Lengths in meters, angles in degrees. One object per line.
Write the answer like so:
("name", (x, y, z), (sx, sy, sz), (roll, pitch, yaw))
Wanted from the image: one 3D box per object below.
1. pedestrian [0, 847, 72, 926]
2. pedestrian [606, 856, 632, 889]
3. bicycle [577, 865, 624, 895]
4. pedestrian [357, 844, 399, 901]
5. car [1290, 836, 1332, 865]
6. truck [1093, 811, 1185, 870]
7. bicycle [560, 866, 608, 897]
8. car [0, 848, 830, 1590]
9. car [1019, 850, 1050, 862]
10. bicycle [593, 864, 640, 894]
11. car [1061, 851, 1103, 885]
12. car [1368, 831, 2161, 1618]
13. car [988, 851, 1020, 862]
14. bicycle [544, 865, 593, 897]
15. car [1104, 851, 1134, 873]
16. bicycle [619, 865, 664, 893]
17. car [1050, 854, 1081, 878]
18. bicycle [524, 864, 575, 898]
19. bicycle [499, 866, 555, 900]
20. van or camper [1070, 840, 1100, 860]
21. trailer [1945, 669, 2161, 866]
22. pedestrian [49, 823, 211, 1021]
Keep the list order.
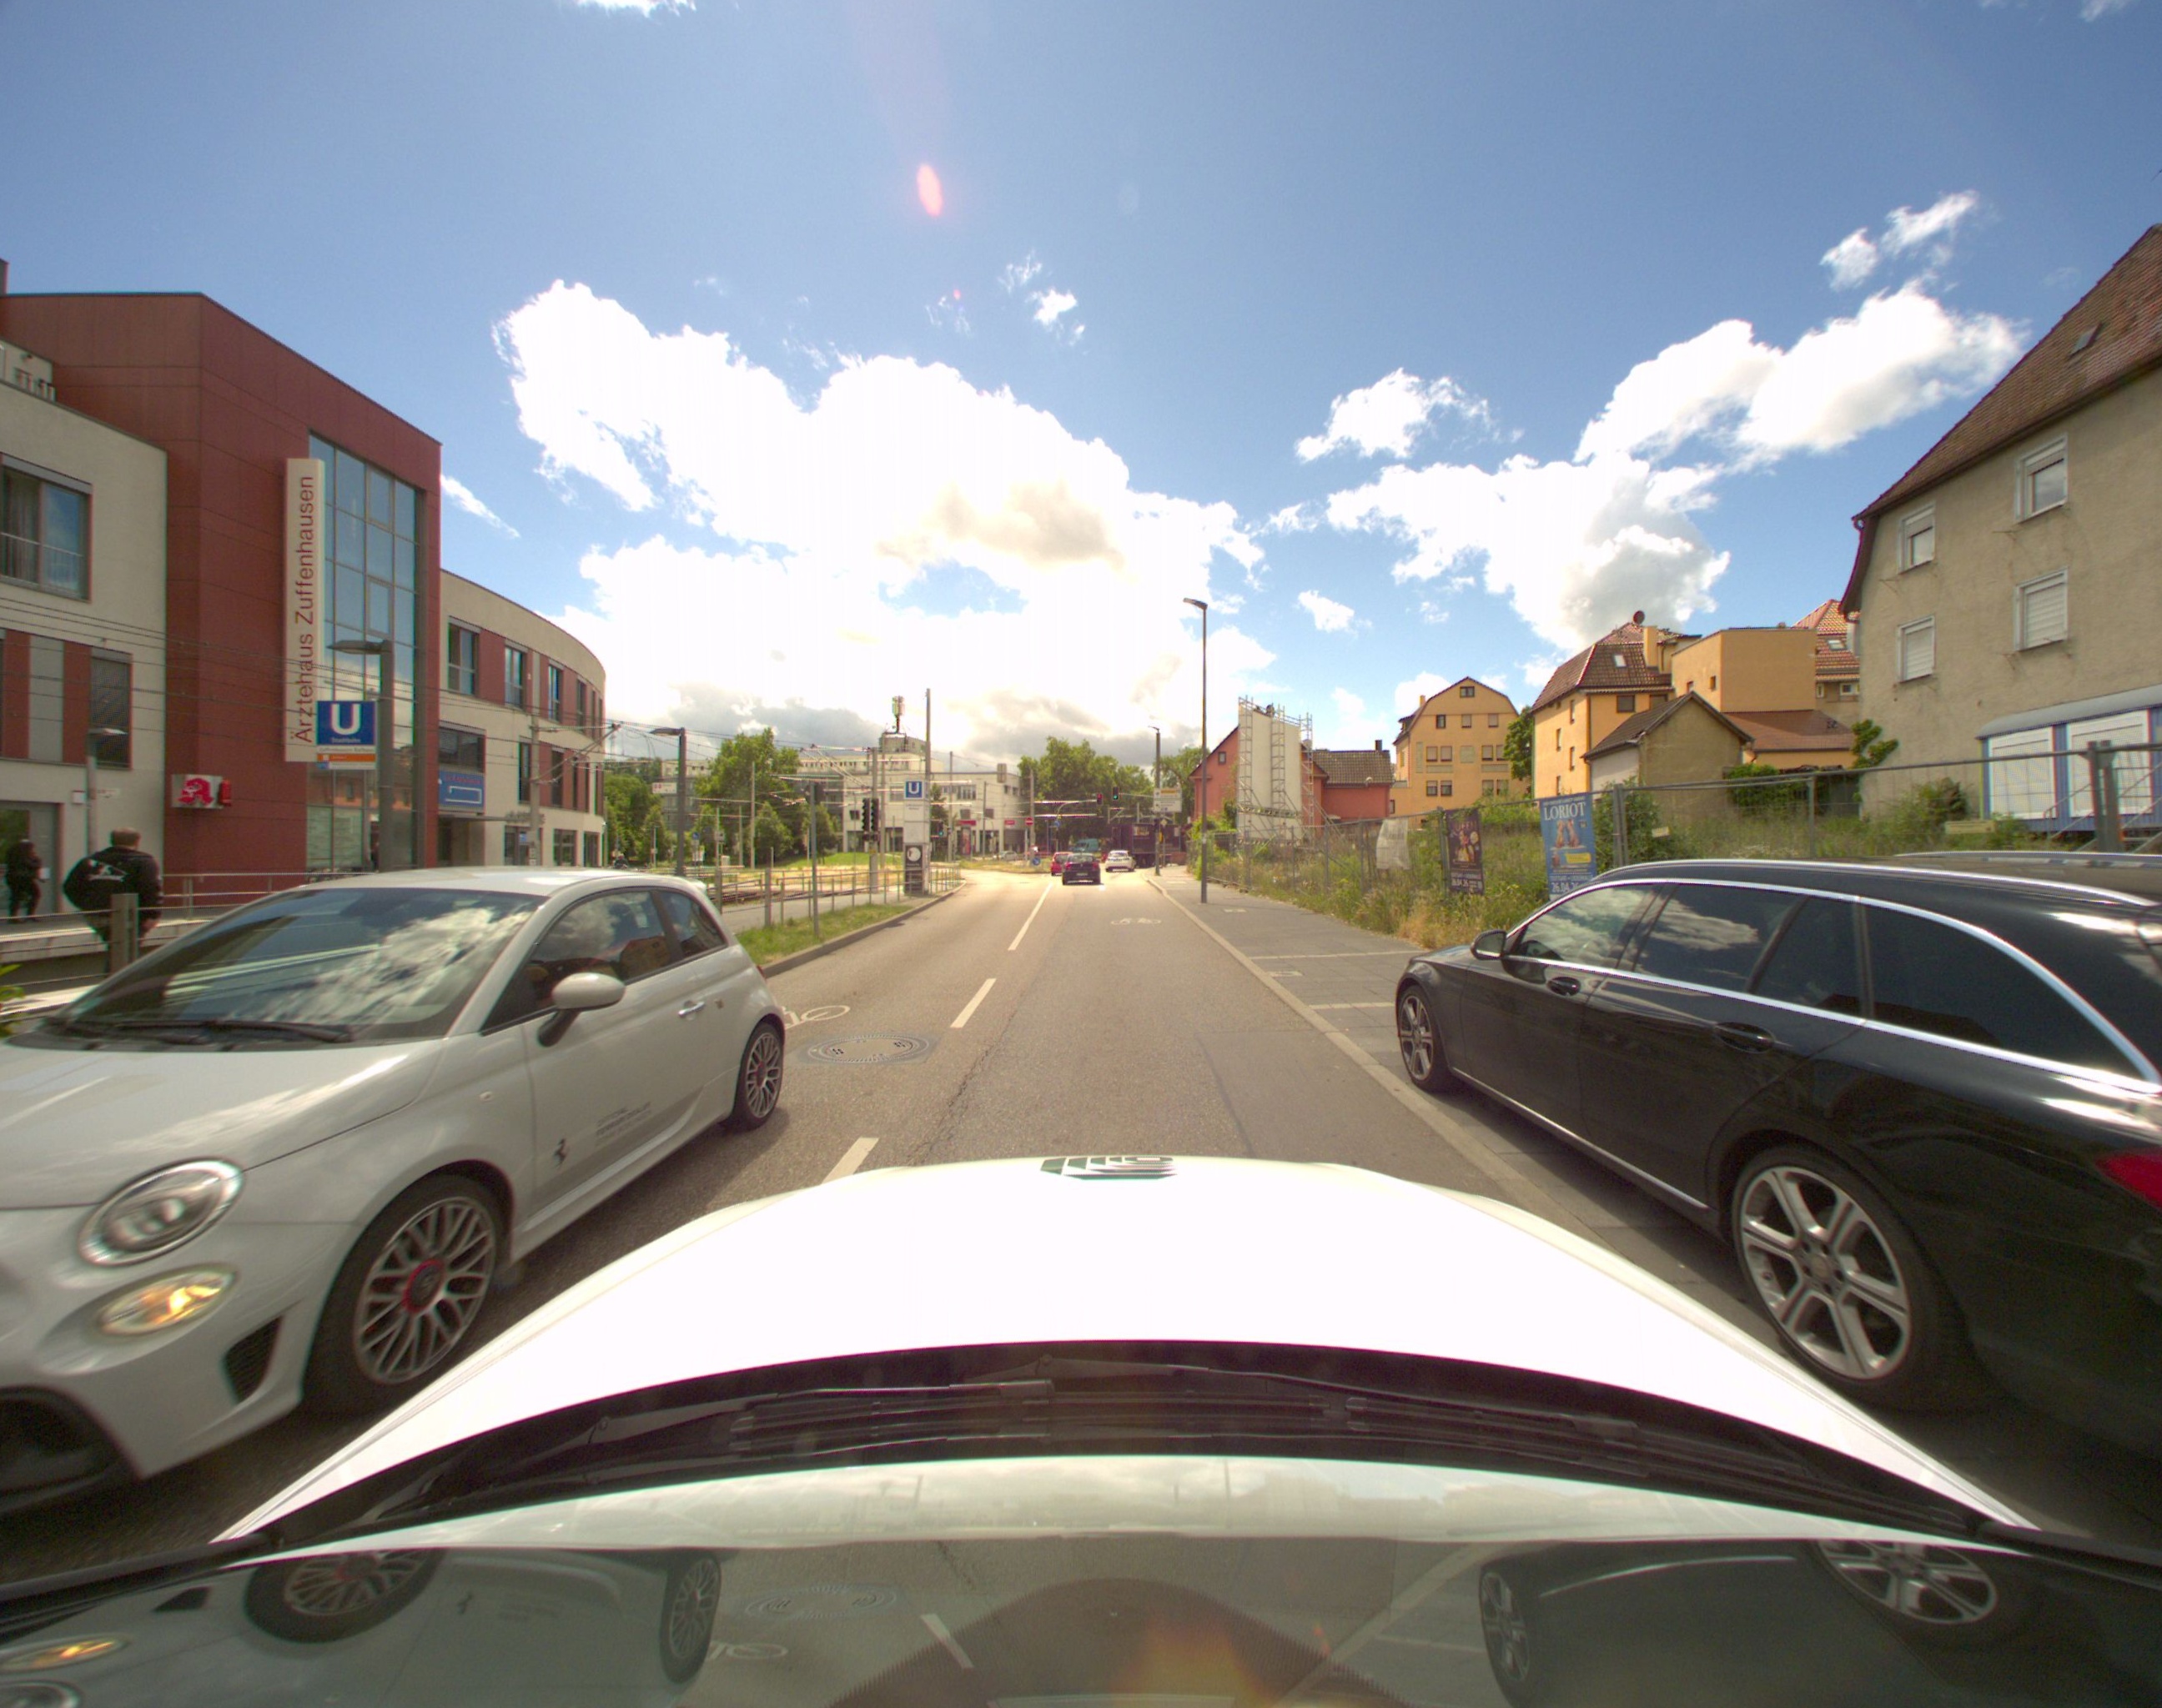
("pedestrian", (-22.472, 0.689, 17.398), (0.654, 1.650, 0.843), (1, -2, 2))
("pedestrian", (-22.123, 0.897, 39.004), (0.853, 1.572, 0.856), (2, -2, -14))
("bicycle", (-18.498, 1.011, 31.349), (1.503, 1.101, 0.492), (-2, -2, 0))
("pedestrian", (-23.223, 0.605, 26.913), (0.653, 1.851, 0.740), (1, -2, 3))
("car", (9.584, -0.172, 34.050), (1.068, 1.121, 2.446), (-2, 1, 0))
("truck", (5.068, -1.019, 68.723), (3.172, 4.536, 9.084), (0, -2, 38))
("bicycle", (-18.432, 1.013, 30.204), (1.503, 1.101, 0.408), (-2, -2, 0))
("car", (-2.689, 0.733, 3.679), (1.764, 1.508, 4.002), (0, 0, 1))
("car", (-6.534, 0.297, 114.531), (1.974, 1.600, 4.225), (0, 1, 41))
("bicycle", (-18.473, 0.990, 32.391), (1.561, 1.101, 0.515), (-2, -2, 0))
("car", (0.000, 0.602, 37.362), (1.723, 1.456, 3.804), (-1, 1, -4))
("car", (2.915, 0.667, 3.554), (1.776, 1.451, 4.476), (-2, 0, 1))
("car", (-10.317, 0.322, 109.570), (1.975, 1.464, 4.024), (0, 0, 42))
("bicycle", (-18.458, 0.966, 29.339), (1.503, 1.101, 0.408), (-2, -2, 0))
("car", (2.741, 0.573, 57.501), (1.878, 1.465, 4.075), (-1, -1, 6))
("bicycle", (-18.311, 1.058, 33.941), (1.561, 1.101, 0.515), (-2, -2, 0))
("car", (-0.950, 0.700, 51.152), (1.705, 1.393, 3.811), (-1, 1, 2))
("bicycle", (-18.479, 0.946, 28.326), (1.503, 1.101, 0.408), (-2, -2, 0))
("bicycle", (-18.589, 0.973, 27.325), (1.561, 1.101, 0.408), (-2, -2, 0))
("van or camper", (0.656, -0.613, 125.958), (2.155, 2.805, 6.103), (0, -2, 25))
("trailer", (18.702, -1.412, 14.004), (2.386, 3.122, 6.186), (-1, 0, 16))
("pedestrian", (-9.352, 0.626, 8.052), (0.736, 1.845, 0.779), (1, 1, -20))
